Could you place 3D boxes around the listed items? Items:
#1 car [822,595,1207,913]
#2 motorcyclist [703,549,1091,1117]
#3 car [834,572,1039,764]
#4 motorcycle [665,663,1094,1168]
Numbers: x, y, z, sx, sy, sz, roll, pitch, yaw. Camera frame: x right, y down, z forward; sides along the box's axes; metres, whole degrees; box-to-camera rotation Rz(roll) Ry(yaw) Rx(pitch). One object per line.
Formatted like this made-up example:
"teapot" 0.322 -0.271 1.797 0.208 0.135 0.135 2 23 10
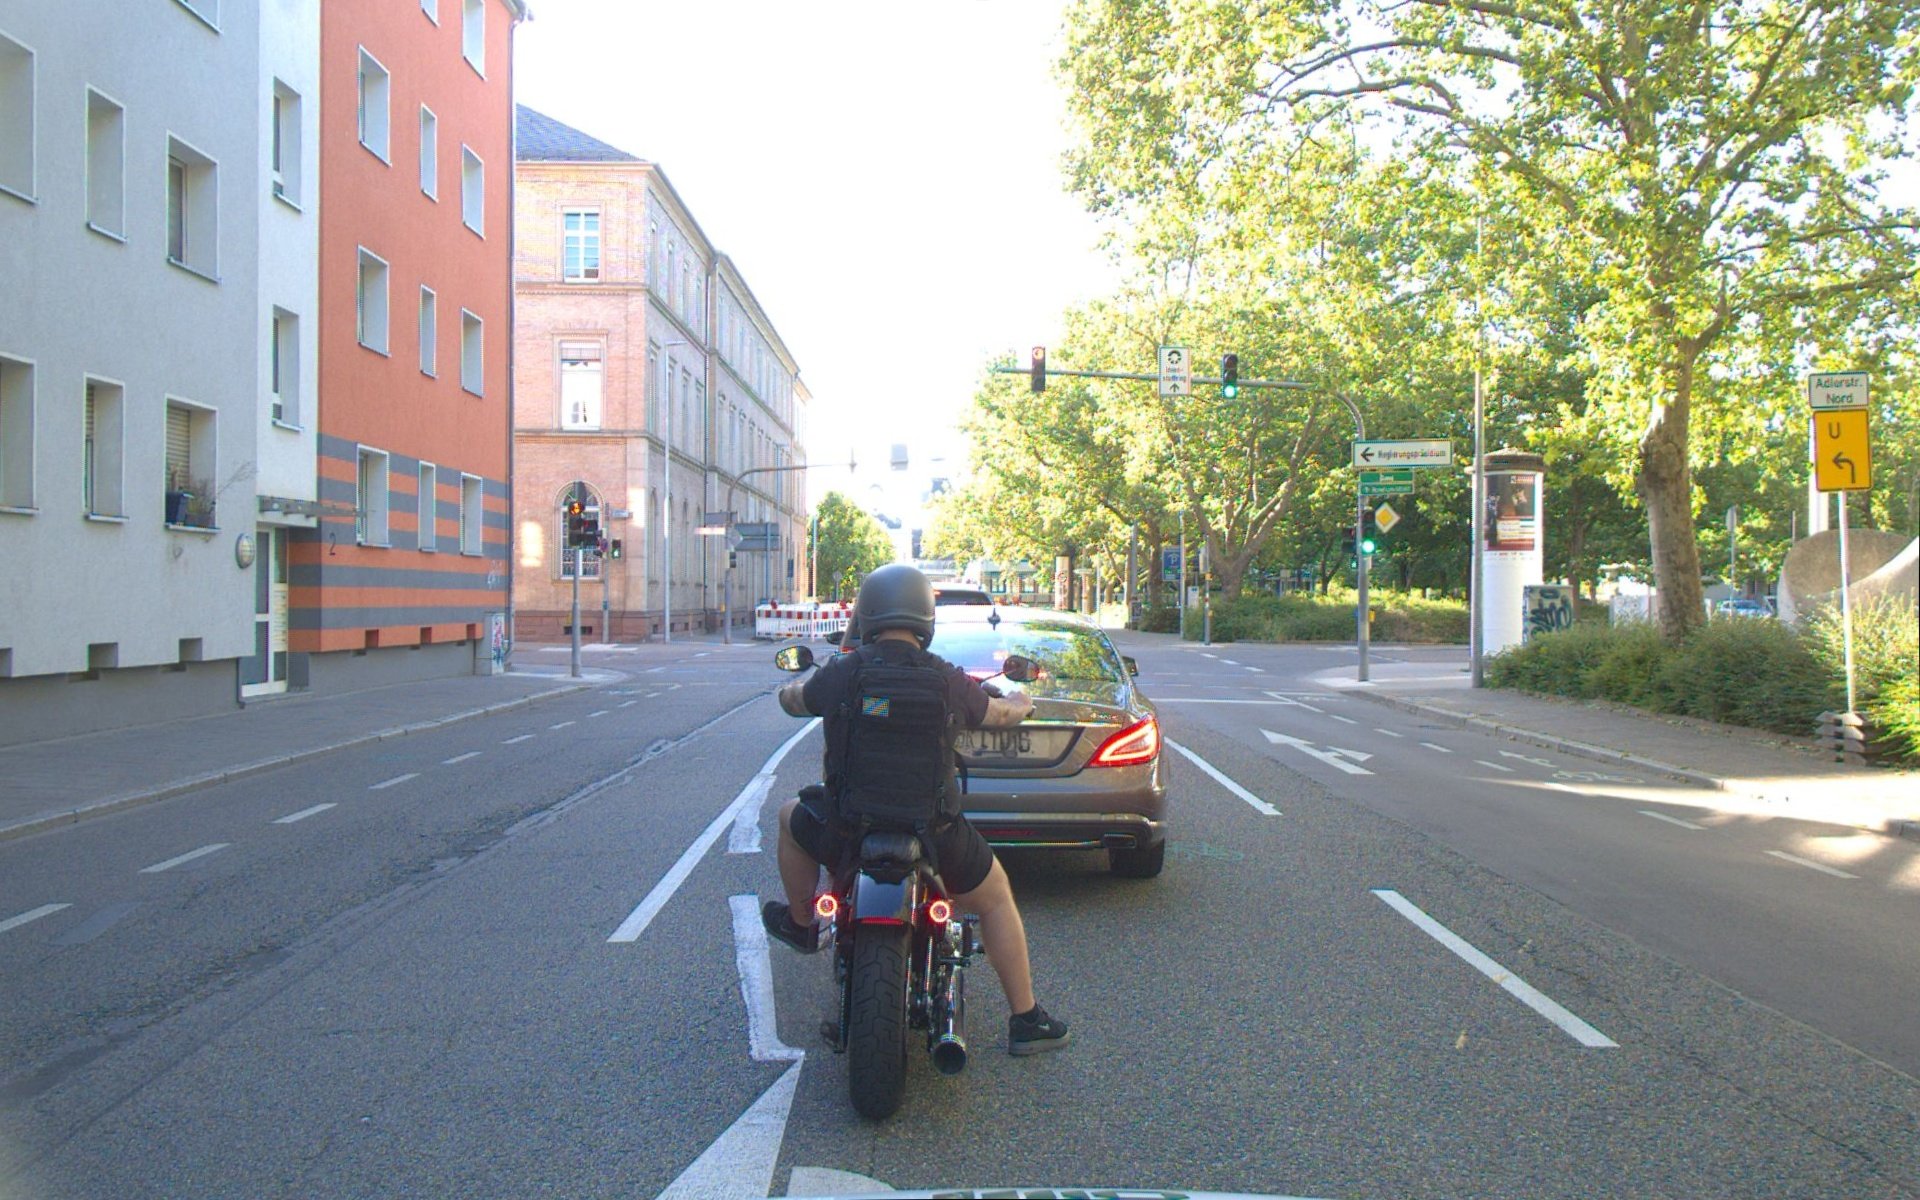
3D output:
"car" 0.233 0.731 9.664 1.785 1.462 3.805 1 0 -1
"motorcyclist" -0.142 0.661 5.272 1.076 1.593 1.072 1 0 5
"car" -0.240 0.623 16.936 1.825 1.707 3.999 1 0 -1
"motorcycle" -0.129 0.872 5.492 1.094 1.228 2.213 1 0 5
